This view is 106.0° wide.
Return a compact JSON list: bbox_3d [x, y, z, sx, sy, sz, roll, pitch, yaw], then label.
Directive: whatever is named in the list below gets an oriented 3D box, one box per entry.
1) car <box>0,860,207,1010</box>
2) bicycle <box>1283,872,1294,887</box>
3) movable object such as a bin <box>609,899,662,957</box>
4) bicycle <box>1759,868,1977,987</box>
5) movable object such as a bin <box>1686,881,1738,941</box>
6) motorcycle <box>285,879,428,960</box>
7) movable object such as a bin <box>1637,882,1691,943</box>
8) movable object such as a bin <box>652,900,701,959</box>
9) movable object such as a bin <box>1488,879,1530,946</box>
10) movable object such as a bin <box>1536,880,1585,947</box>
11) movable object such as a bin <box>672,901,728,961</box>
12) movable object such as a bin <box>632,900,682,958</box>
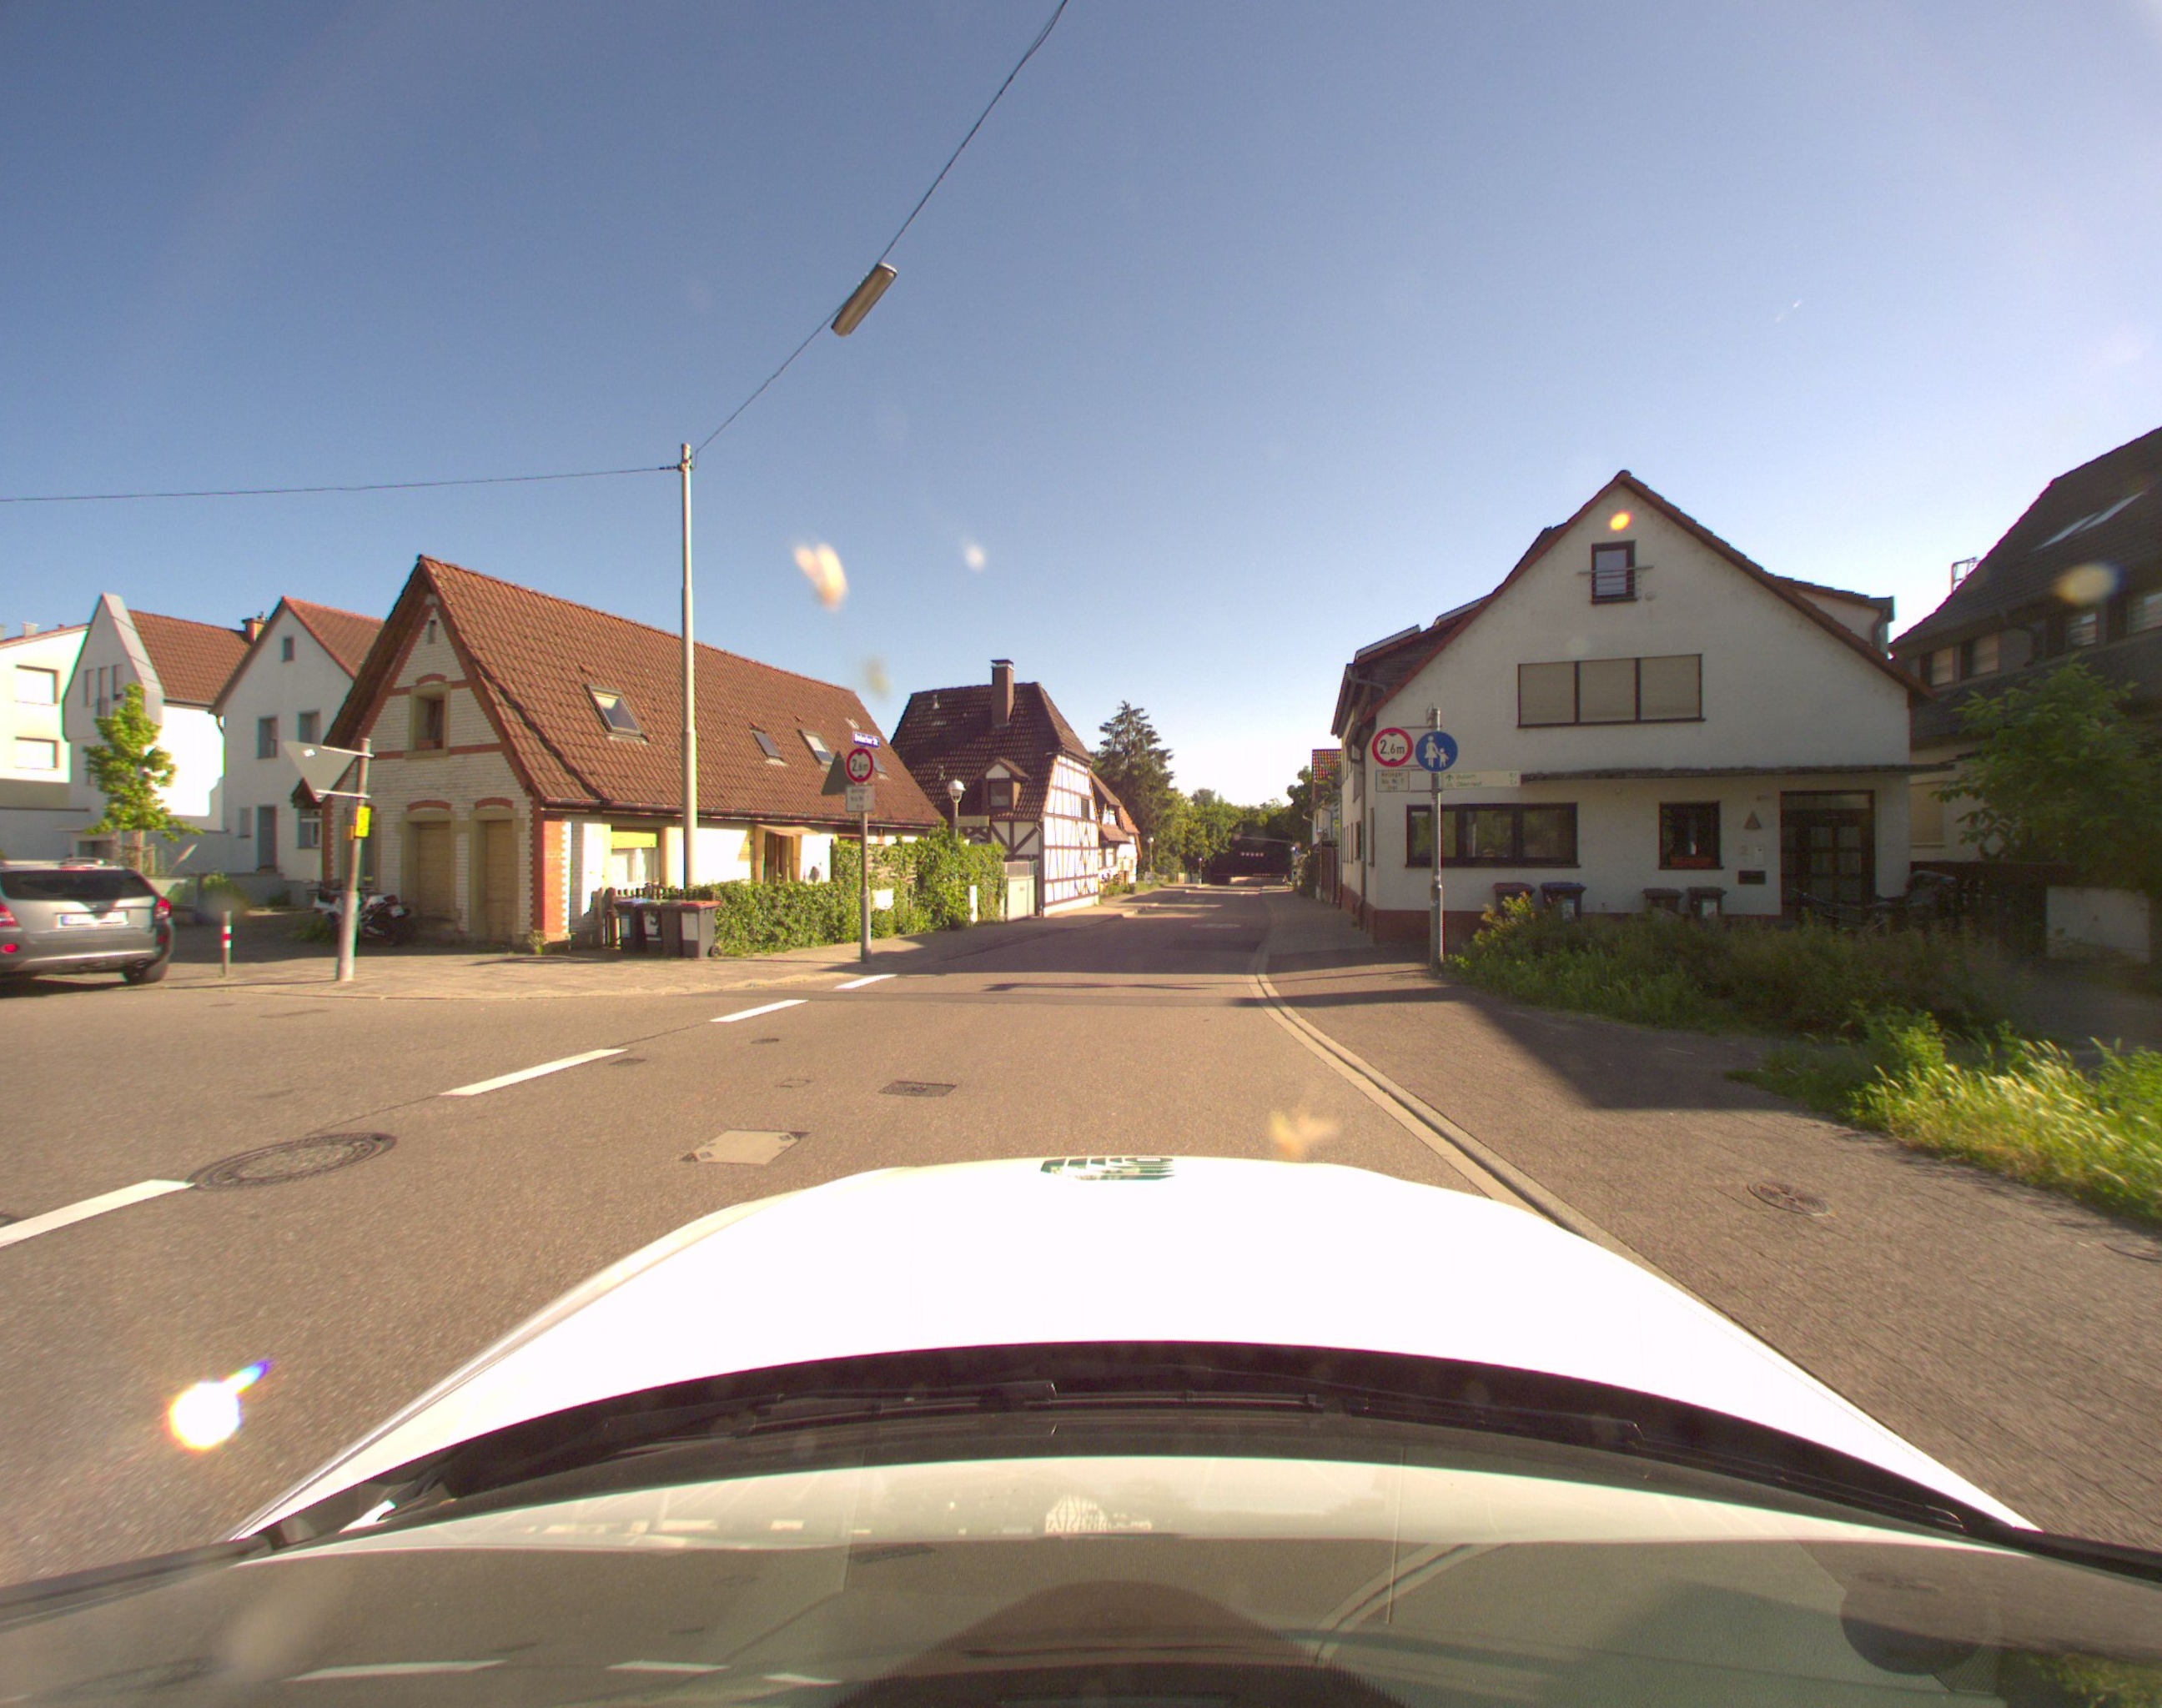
[{"bbox_3d":[-14.425,0.962,11.041,4.186,1.725,1.955,0,0,19],"label":"car"},{"bbox_3d":[16.629,2.017,65.314,0.684,1.157,1.544,-5,-2,12],"label":"bicycle"},{"bbox_3d":[-7.631,1.256,13.963,0.503,0.924,0.629,0,0,20],"label":"movable object such as a bin"},{"bbox_3d":[9.077,0.818,9.461,1.726,1.284,0.702,0,-1,10],"label":"bicycle"},{"bbox_3d":[10.766,0.962,13.914,0.494,0.976,0.596,0,0,11],"label":"movable object such as a bin"},{"bbox_3d":[-12.887,1.134,14.490,2.223,1.295,0.887,-1,3,20],"label":"motorcycle"},{"bbox_3d":[10.052,0.999,14.063,0.526,0.983,0.671,0,0,11],"label":"movable object such as a bin"},{"bbox_3d":[-6.780,1.257,13.663,0.407,0.924,0.629,0,0,20],"label":"movable object such as a bin"},{"bbox_3d":[7.655,1.031,14.574,0.477,1.123,0.751,0,0,11],"label":"movable object such as a bin"},{"bbox_3d":[8.374,1.024,14.255,0.523,1.123,0.751,0,0,11],"label":"movable object such as a bin"},{"bbox_3d":[-6.309,1.259,13.489,0.551,0.924,0.629,0,0,20],"label":"movable object such as a bin"},{"bbox_3d":[-7.179,1.262,13.811,0.409,0.906,0.629,0,1,20],"label":"movable object such as a bin"}]
